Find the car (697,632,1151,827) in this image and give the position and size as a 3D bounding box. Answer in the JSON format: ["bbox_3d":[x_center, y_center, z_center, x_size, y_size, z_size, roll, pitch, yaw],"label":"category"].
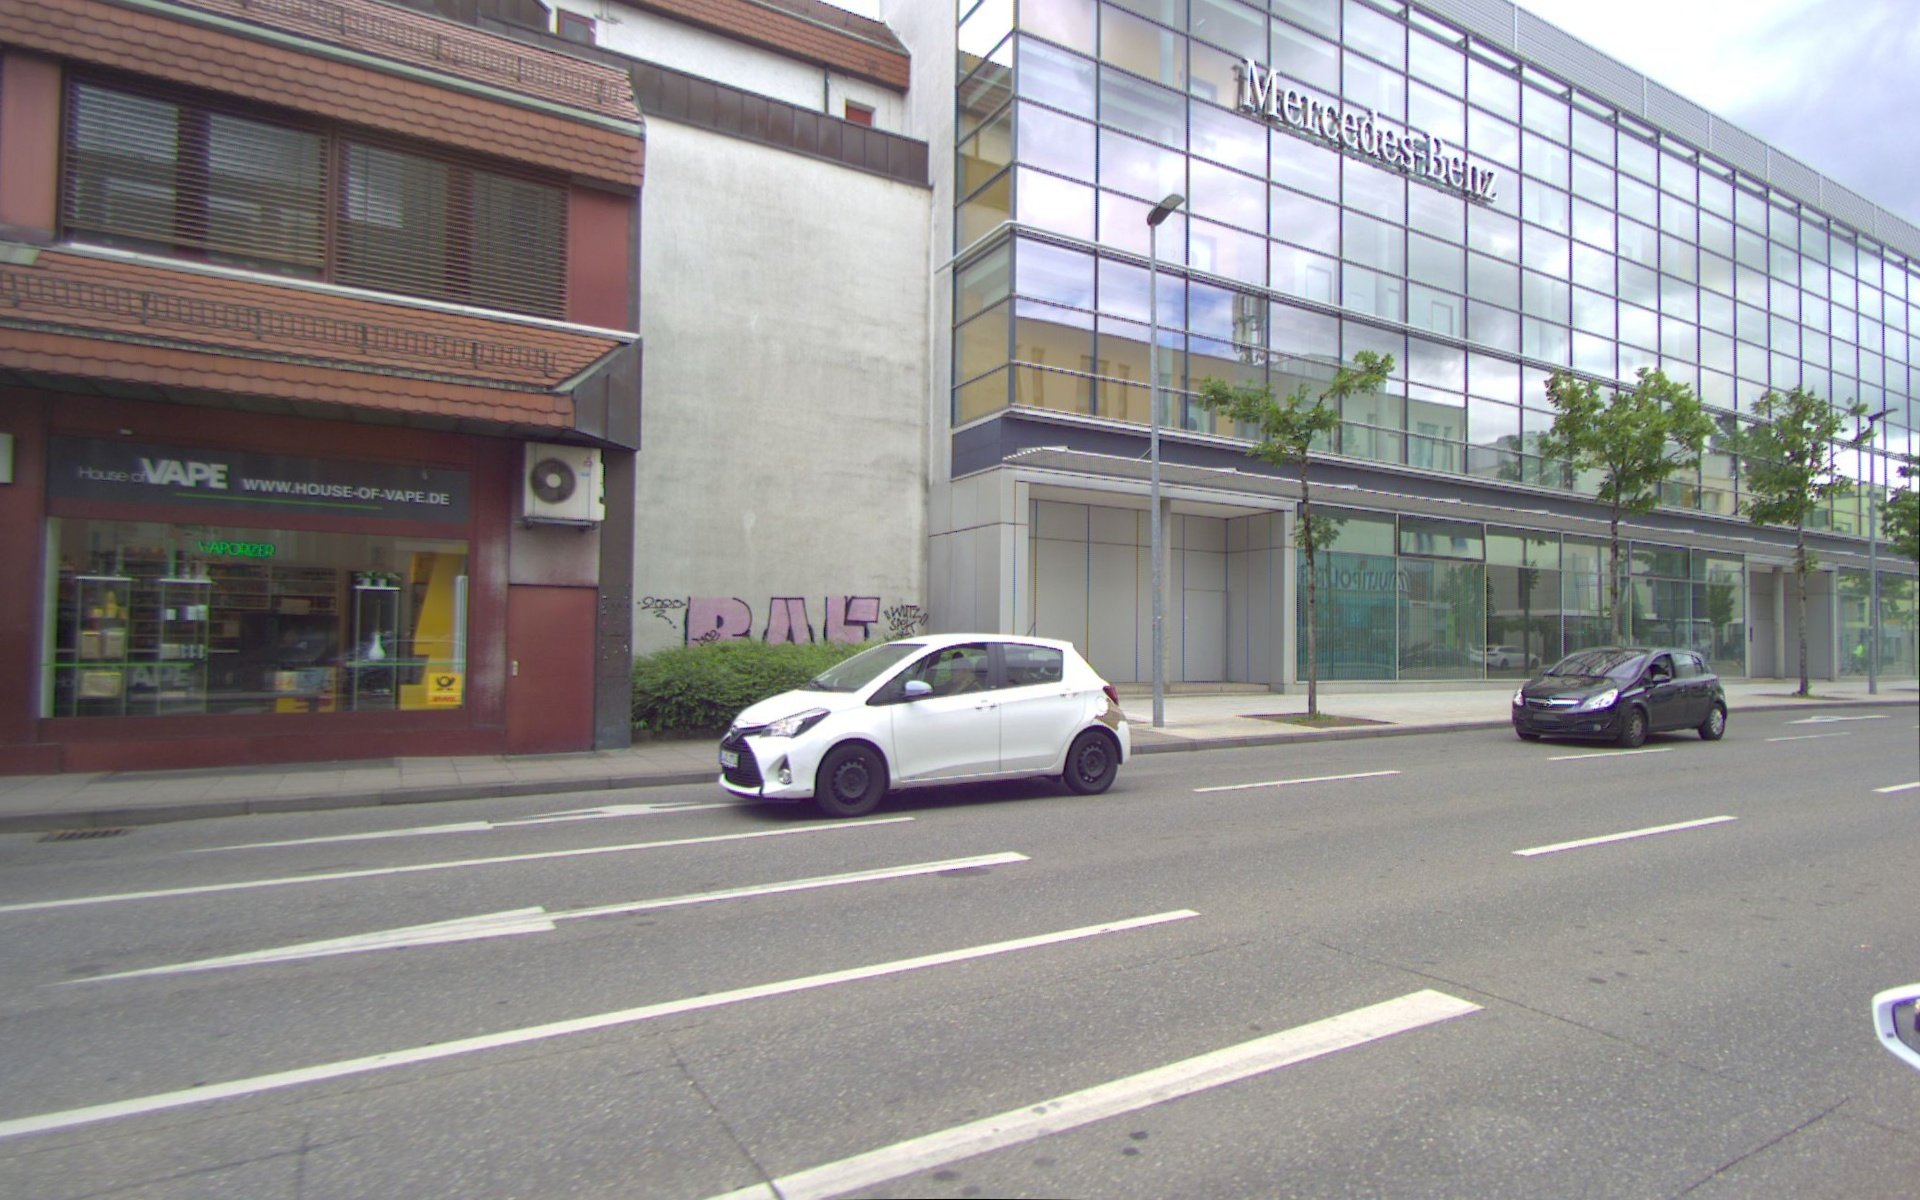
[{"bbox_3d":[-0.272,1.072,9.398,3.953,1.484,1.653,2,-3,-30],"label":"car"}]

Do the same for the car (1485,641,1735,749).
[{"bbox_3d":[10.194,1.409,15.712,3.953,1.499,1.653,2,-3,-30],"label":"car"}]
